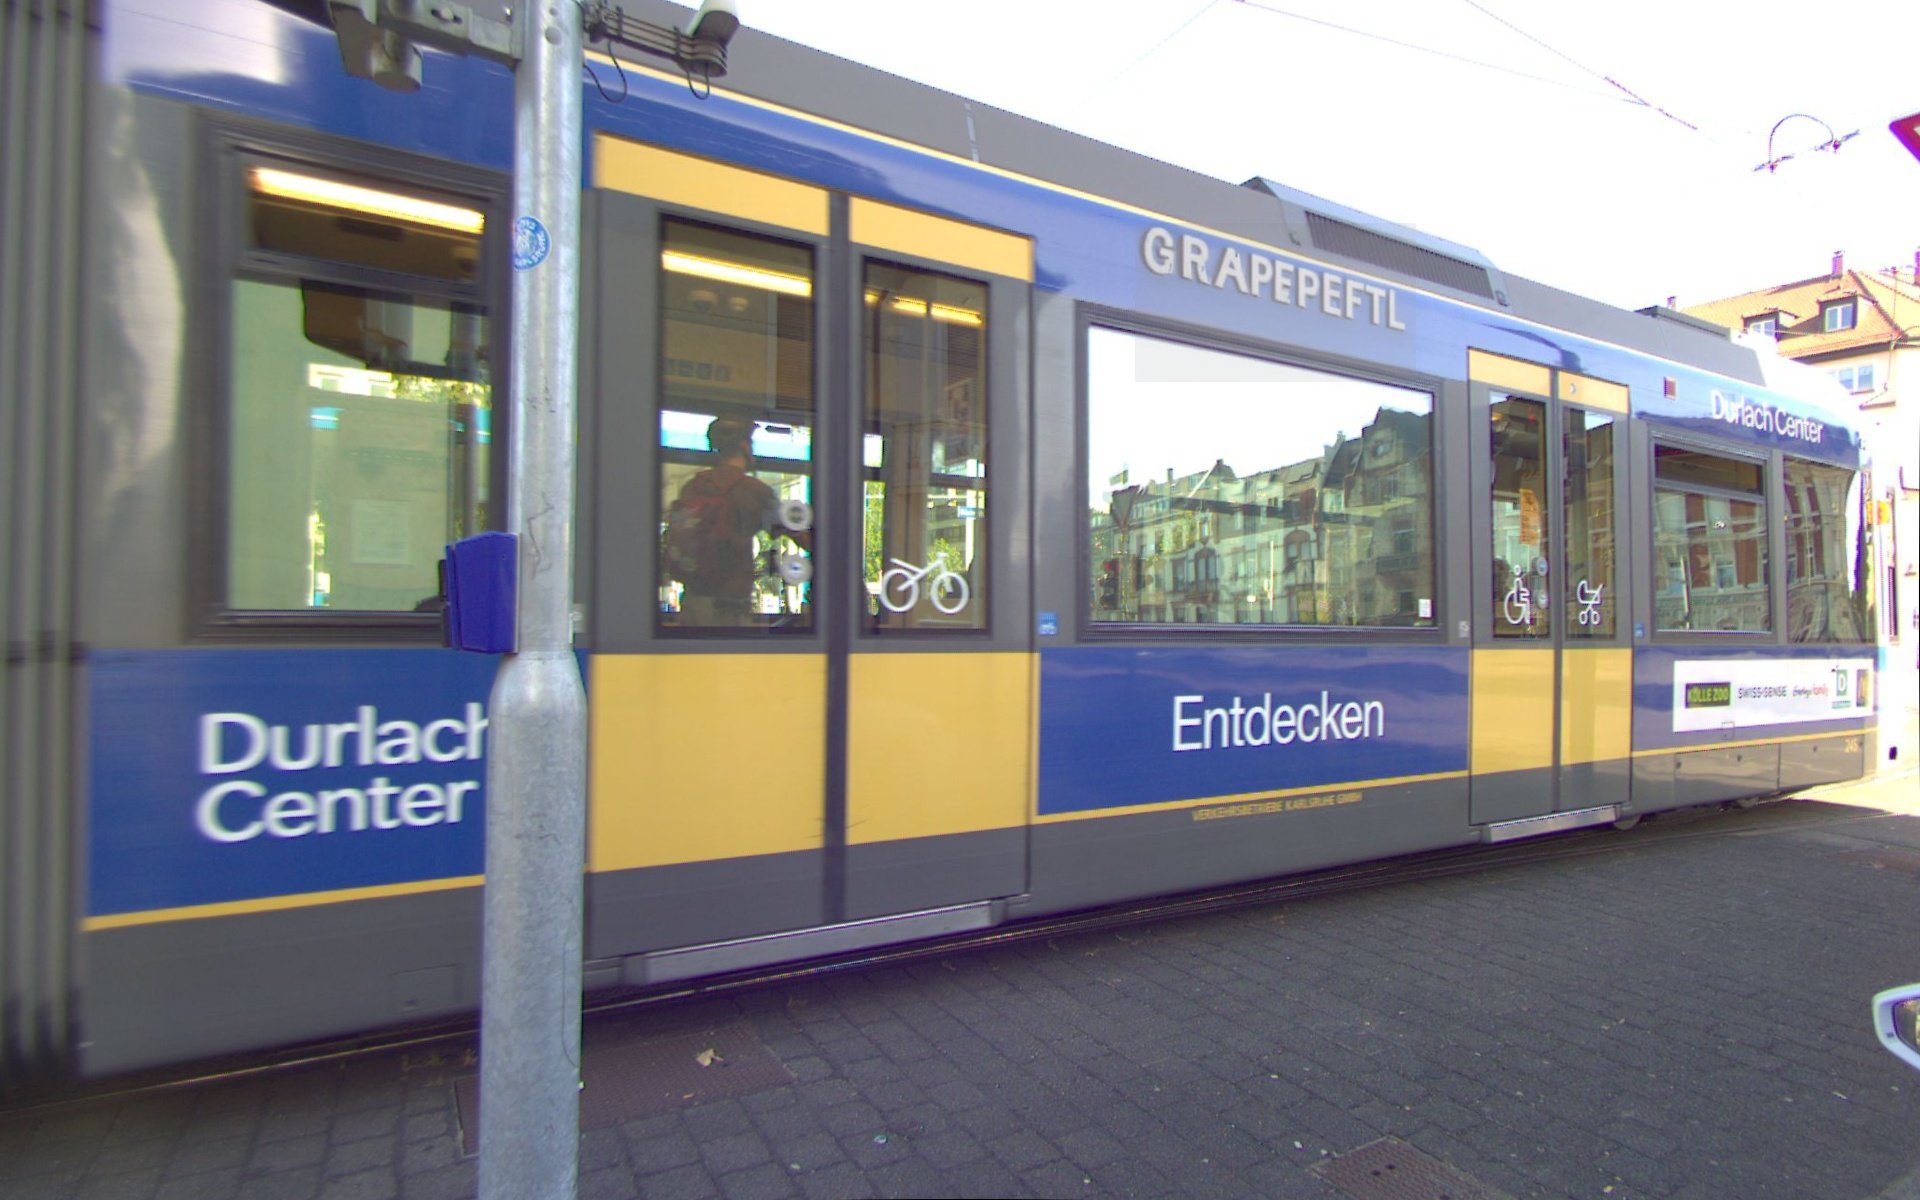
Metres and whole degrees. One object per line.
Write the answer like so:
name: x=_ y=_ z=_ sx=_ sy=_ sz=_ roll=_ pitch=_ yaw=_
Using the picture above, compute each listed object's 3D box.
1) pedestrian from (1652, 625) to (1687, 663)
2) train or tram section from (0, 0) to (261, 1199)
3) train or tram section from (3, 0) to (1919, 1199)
pedestrian: x=34.054 y=2.121 z=48.198 sx=0.926 sy=1.799 sz=1.006 roll=1 pitch=-1 yaw=-15
train or tram section: x=-6.170 y=-0.511 z=1.289 sx=8.362 sy=3.546 sz=2.801 roll=1 pitch=-1 yaw=-30
train or tram section: x=2.408 y=-0.311 z=6.392 sx=11.890 sy=3.546 sz=2.757 roll=1 pitch=-1 yaw=-31
